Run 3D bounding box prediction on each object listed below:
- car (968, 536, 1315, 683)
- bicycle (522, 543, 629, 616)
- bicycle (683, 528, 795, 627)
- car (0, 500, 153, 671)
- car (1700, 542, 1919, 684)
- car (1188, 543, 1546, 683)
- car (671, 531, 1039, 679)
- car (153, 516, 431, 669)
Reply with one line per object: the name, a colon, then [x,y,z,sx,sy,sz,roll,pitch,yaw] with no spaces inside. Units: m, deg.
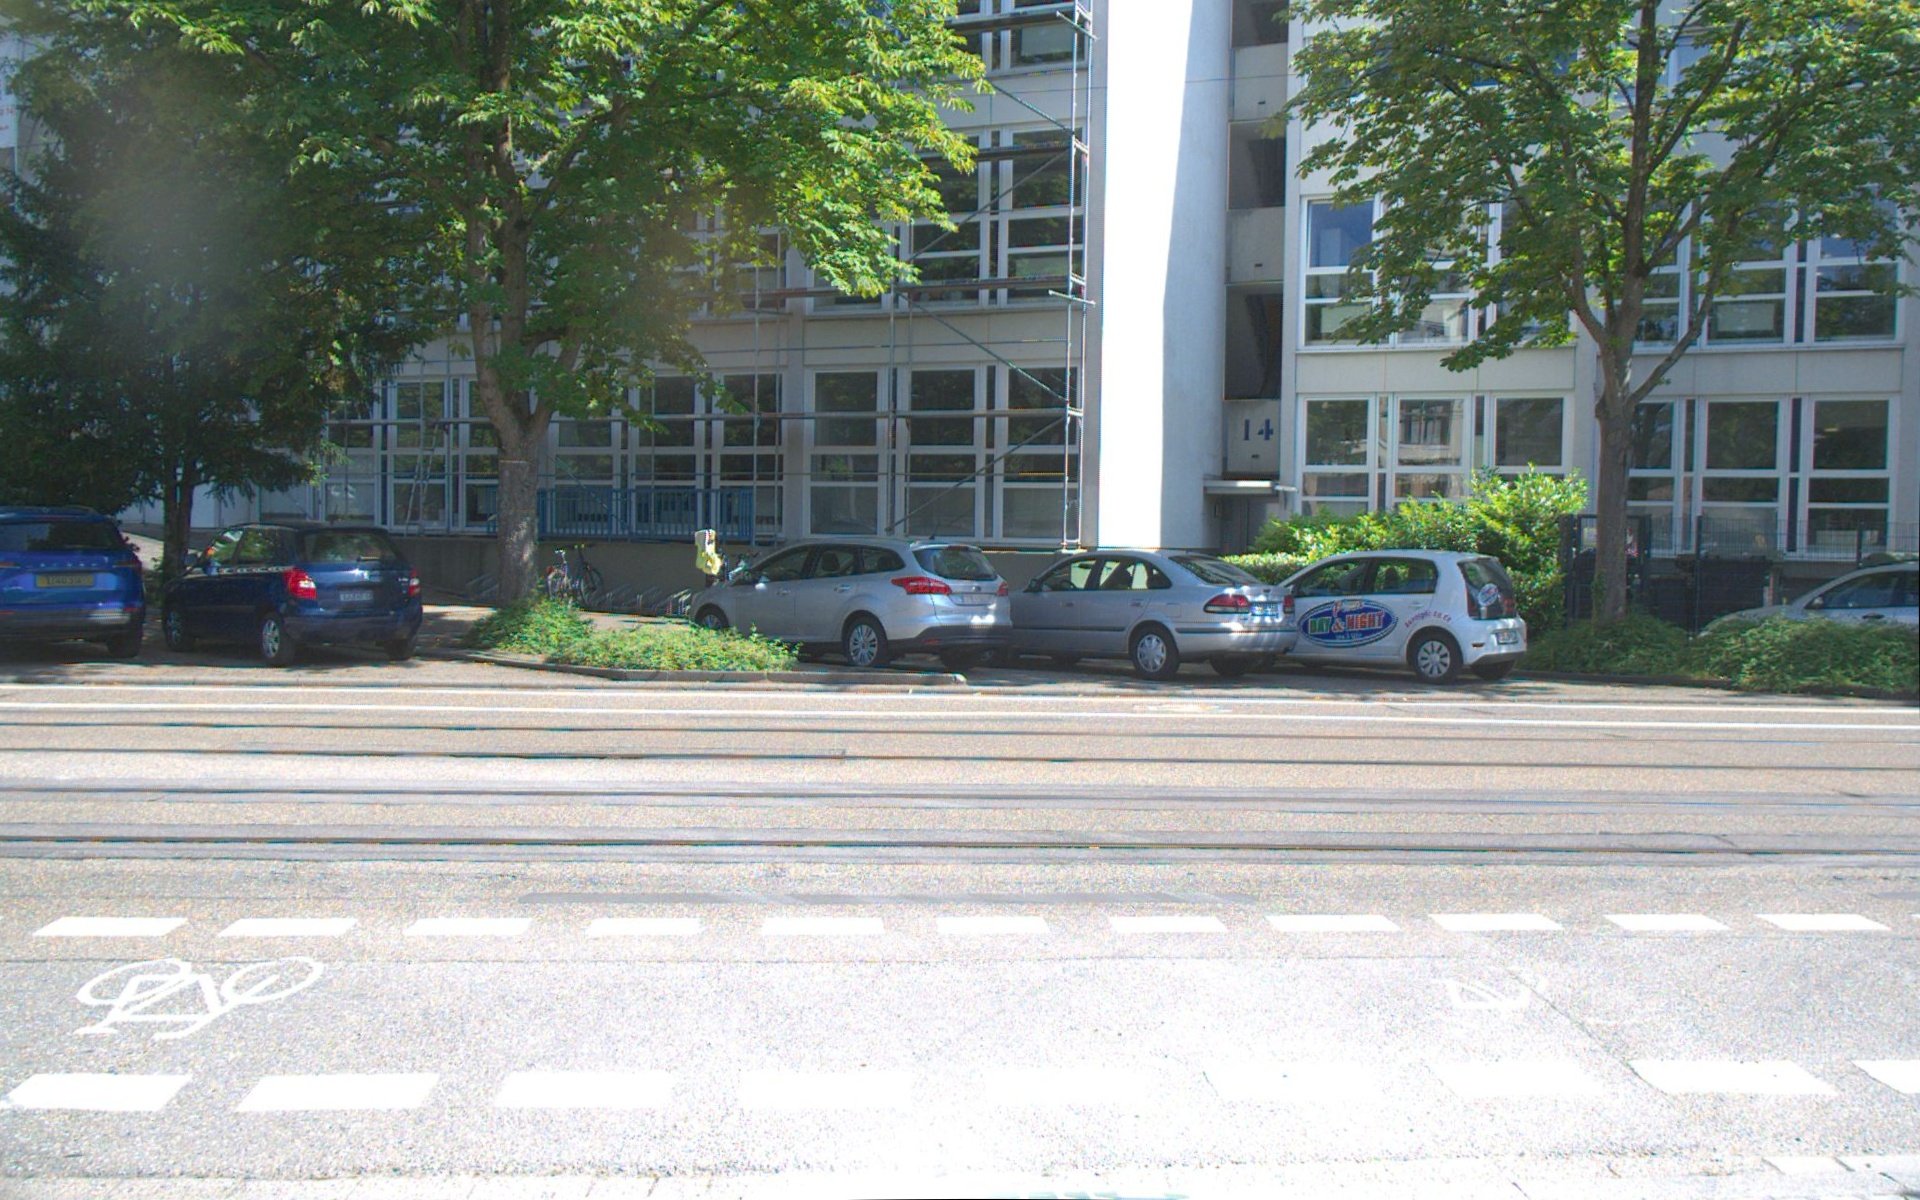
car: [2.040,0.039,19.347,3.878,1.511,1.602,3,3,44]
bicycle: [-6.154,-0.355,26.598,0.725,1.104,2.205,1,2,15]
bicycle: [-3.434,-0.373,25.841,0.648,1.478,2.088,2,2,27]
car: [-10.541,-0.250,18.356,1.767,1.650,3.883,-2,5,-44]
car: [11.459,0.147,20.071,4.262,1.632,1.551,2,2,39]
car: [4.779,0.093,19.740,3.876,1.512,1.603,1,2,43]
car: [-1.316,-0.021,19.410,4.356,1.511,1.774,3,3,42]
car: [-7.535,-0.147,18.549,3.396,1.557,1.567,3,3,42]
